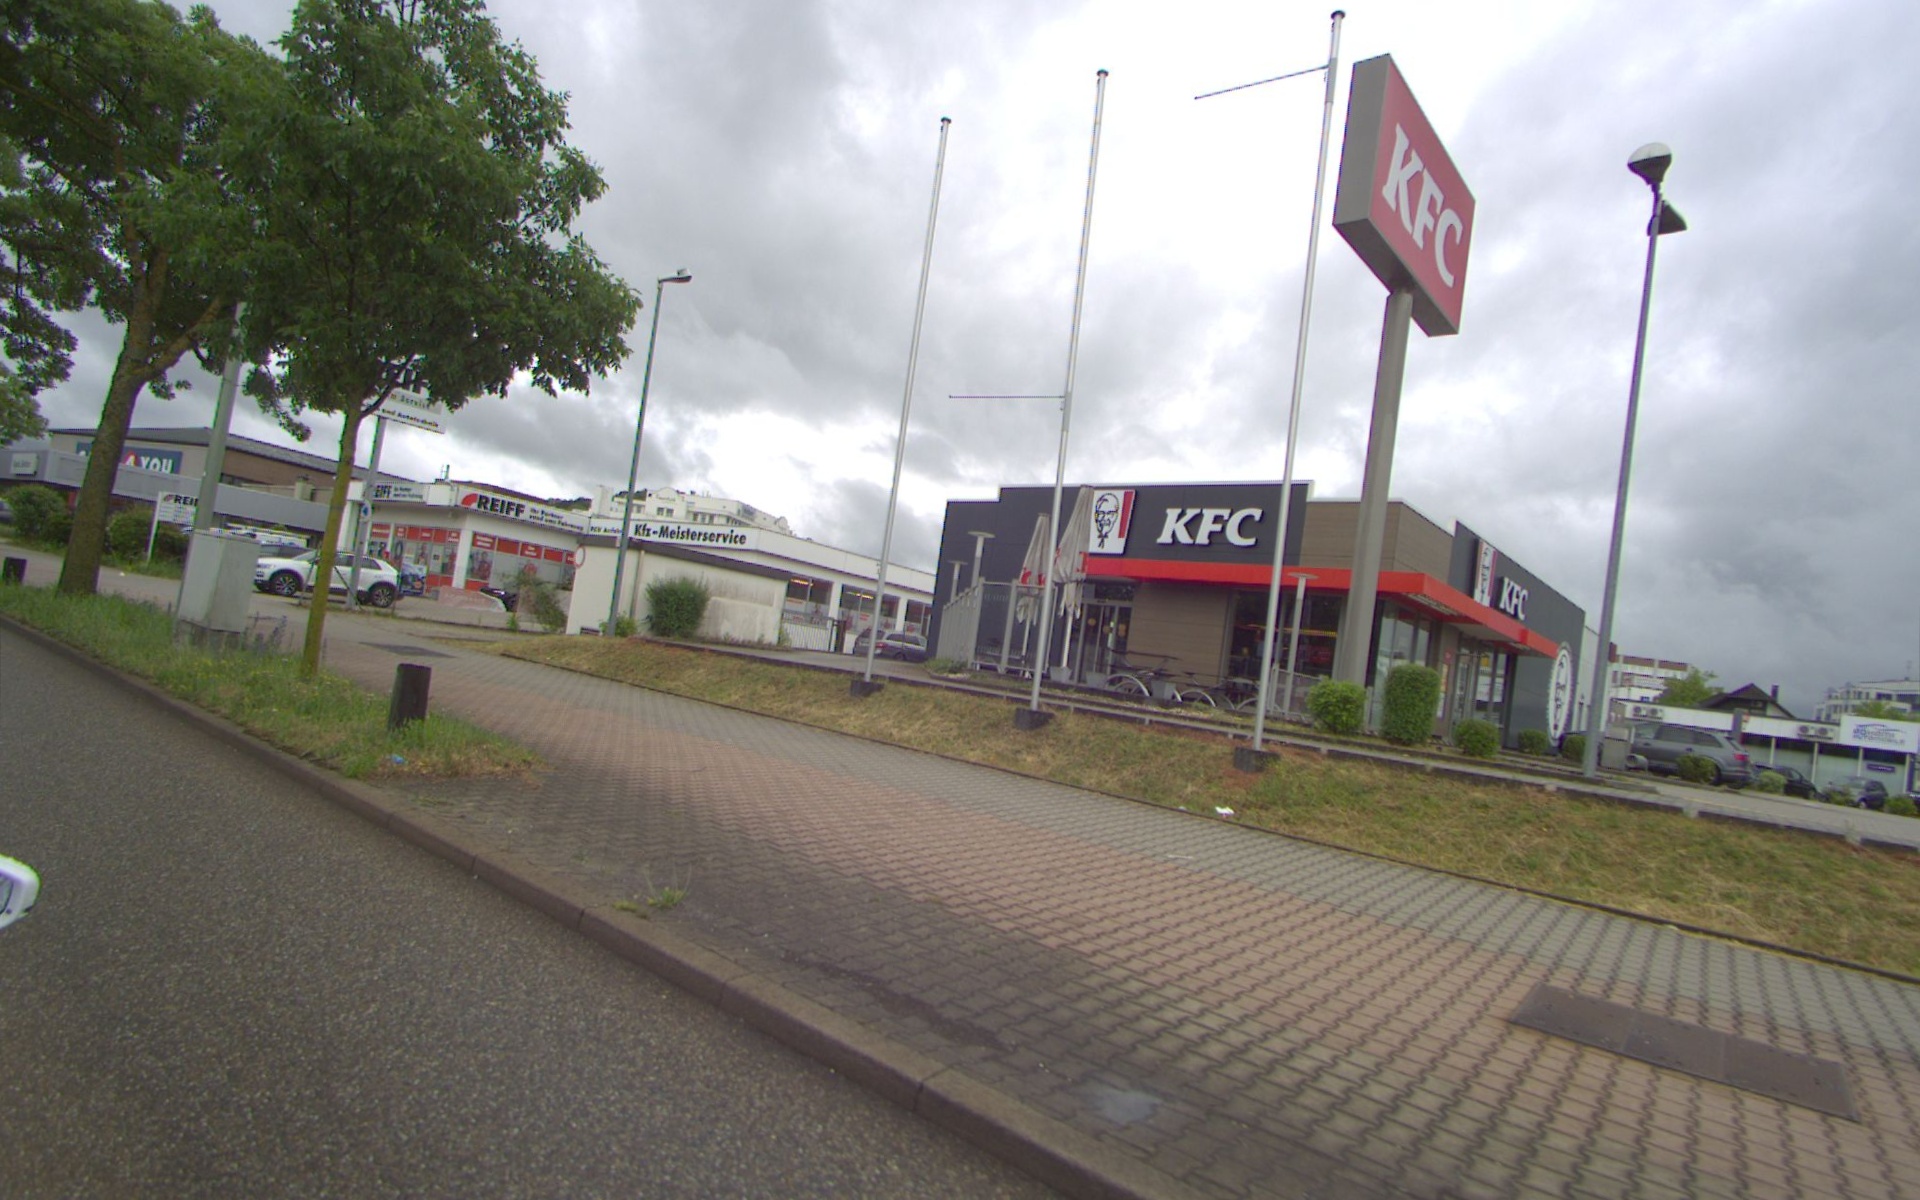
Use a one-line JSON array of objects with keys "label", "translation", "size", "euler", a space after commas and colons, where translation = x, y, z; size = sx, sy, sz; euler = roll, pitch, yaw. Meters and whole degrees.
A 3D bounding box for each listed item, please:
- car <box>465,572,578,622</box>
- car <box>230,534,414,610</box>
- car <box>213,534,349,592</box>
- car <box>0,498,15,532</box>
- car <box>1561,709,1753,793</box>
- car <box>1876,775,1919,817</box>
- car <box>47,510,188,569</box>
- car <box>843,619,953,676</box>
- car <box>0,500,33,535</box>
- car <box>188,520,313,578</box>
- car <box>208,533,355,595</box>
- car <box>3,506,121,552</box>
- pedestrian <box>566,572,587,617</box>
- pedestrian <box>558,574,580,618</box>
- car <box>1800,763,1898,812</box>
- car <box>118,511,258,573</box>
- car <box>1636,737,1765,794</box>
[{"label": "car", "translation": [-18.166, -0.095, 41.865], "size": [1.759, 1.495, 3.855], "euler": [6, -4, 34]}, {"label": "car", "translation": [-19.047, -0.798, 30.175], "size": [1.863, 1.569, 4.175], "euler": [6, -3, 40]}, {"label": "car", "translation": [-25.544, -1.367, 37.937], "size": [3.919, 1.540, 1.711], "euler": [10, -3, -44]}, {"label": "car", "translation": [-48.293, -4.298, 48.261], "size": [1.783, 1.563, 3.987], "euler": [7, 1, 33]}, {"label": "car", "translation": [21.599, 4.632, 31.283], "size": [4.674, 1.760, 1.887], "euler": [6, -2, 39]}, {"label": "car", "translation": [43.235, 8.925, 44.979], "size": [3.314, 1.569, 1.560], "euler": [8, -2, -10]}, {"label": "car", "translation": [-33.246, -2.357, 39.868], "size": [4.037, 1.615, 1.964], "euler": [9, -3, -38]}, {"label": "car", "translation": [-2.433, 1.932, 40.416], "size": [1.877, 1.720, 4.161], "euler": [5, -4, 42]}, {"label": "car", "translation": [-46.103, -4.043, 46.889], "size": [1.797, 1.480, 3.836], "euler": [7, 1, 31]}, {"label": "car", "translation": [-36.269, -2.569, 51.542], "size": [1.932, 2.173, 4.664], "euler": [7, -3, 31]}, {"label": "car", "translation": [-23.997, -1.246, 35.648], "size": [3.978, 1.540, 1.697], "euler": [10, -3, -44]}, {"label": "car", "translation": [-42.091, -3.305, 47.207], "size": [1.765, 1.480, 3.685], "euler": [6, -2, 33]}, {"label": "pedestrian", "translation": [-16.088, -0.228, 42.185], "size": [0.435, 1.805, 0.510], "euler": [8, -2, -41]}, {"label": "pedestrian", "translation": [-16.105, -0.173, 41.450], "size": [0.506, 1.724, 0.439], "euler": [7, -2, 7]}, {"label": "car", "translation": [41.344, 8.702, 46.804], "size": [3.315, 1.568, 1.560], "euler": [10, -3, -10]}, {"label": "car", "translation": [-30.180, -2.262, 39.504], "size": [4.120, 1.682, 1.804], "euler": [9, -1, -35]}, {"label": "car", "translation": [29.766, 6.612, 40.564], "size": [3.974, 1.503, 1.736], "euler": [7, -2, 37]}]
